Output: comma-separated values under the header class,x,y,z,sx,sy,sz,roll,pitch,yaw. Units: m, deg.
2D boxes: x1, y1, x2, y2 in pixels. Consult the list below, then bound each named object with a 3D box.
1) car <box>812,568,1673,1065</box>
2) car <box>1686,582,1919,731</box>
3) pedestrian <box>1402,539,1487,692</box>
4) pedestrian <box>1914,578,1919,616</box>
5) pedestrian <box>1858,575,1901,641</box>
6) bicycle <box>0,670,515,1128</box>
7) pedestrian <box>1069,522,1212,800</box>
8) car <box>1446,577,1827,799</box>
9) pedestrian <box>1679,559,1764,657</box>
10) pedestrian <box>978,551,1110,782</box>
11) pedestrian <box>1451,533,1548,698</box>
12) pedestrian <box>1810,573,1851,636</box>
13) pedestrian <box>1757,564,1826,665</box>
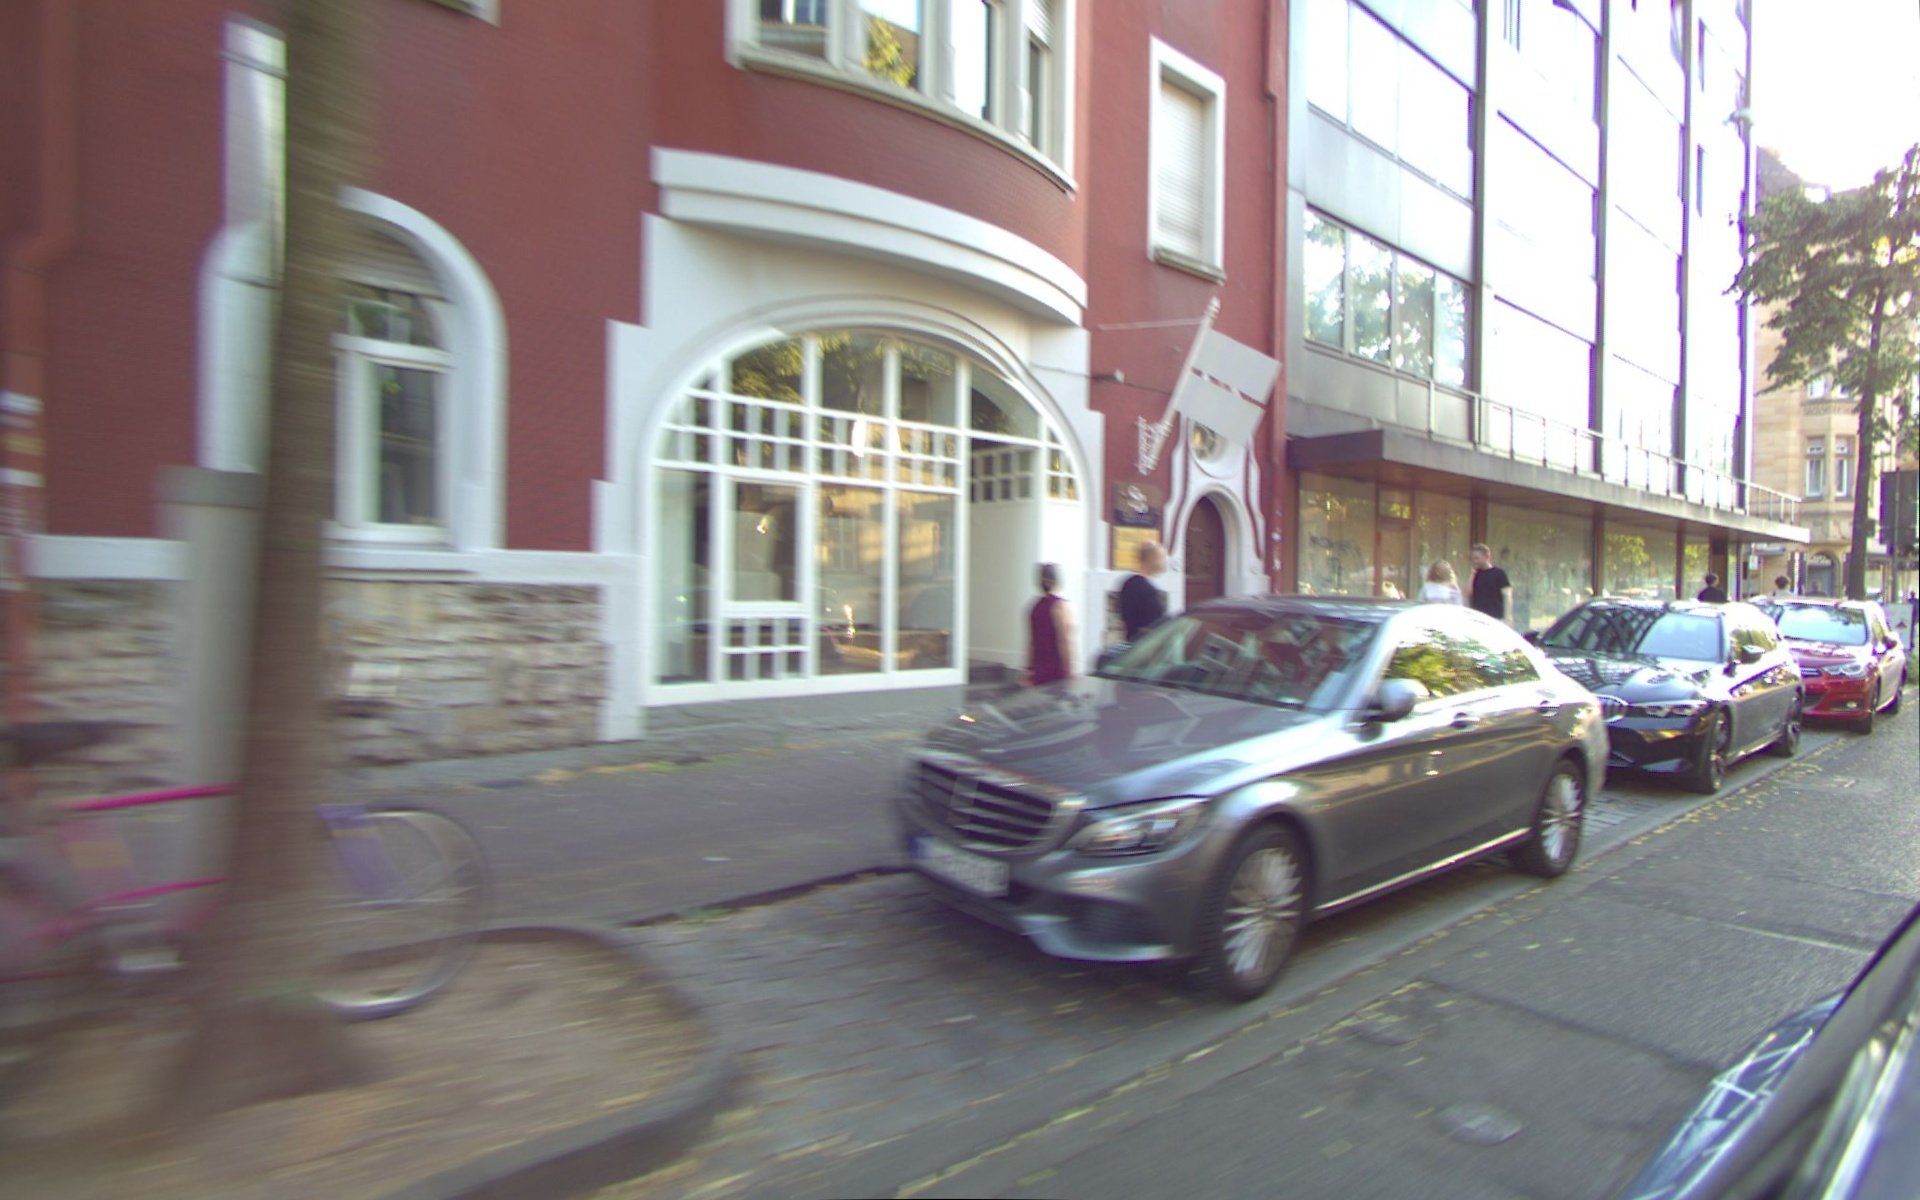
class,x,y,z,sx,sy,sz,roll,pitch,yaw
car,1.828,0.636,5.310,4.909,1.457,1.780,0,3,-39
car,11.066,0.582,13.025,4.670,1.511,1.726,0,4,-41
pedestrian,6.069,0.174,12.684,0.821,1.831,0.590,0,3,-41
pedestrian,42.867,-0.132,44.902,0.591,1.682,0.600,0,3,-35
pedestrian,25.369,0.196,27.921,0.798,1.780,0.756,0,1,-41
bicycle,-2.168,0.756,2.822,0.385,0.996,1.685,1,1,43
pedestrian,1.179,0.360,6.629,0.629,1.698,0.626,0,2,-40
car,6.311,0.596,9.231,4.341,1.488,1.778,0,4,-41
pedestrian,14.967,0.137,19.900,0.928,1.807,1.049,0,4,-40
pedestrian,0.584,0.423,7.058,0.629,1.507,0.626,0,2,-40
pedestrian,6.505,0.160,12.202,0.959,1.890,0.627,0,3,-41
pedestrian,24.817,0.115,28.839,0.798,1.780,0.756,0,1,-41
pedestrian,15.680,0.249,19.094,0.854,1.806,0.732,0,5,-40
